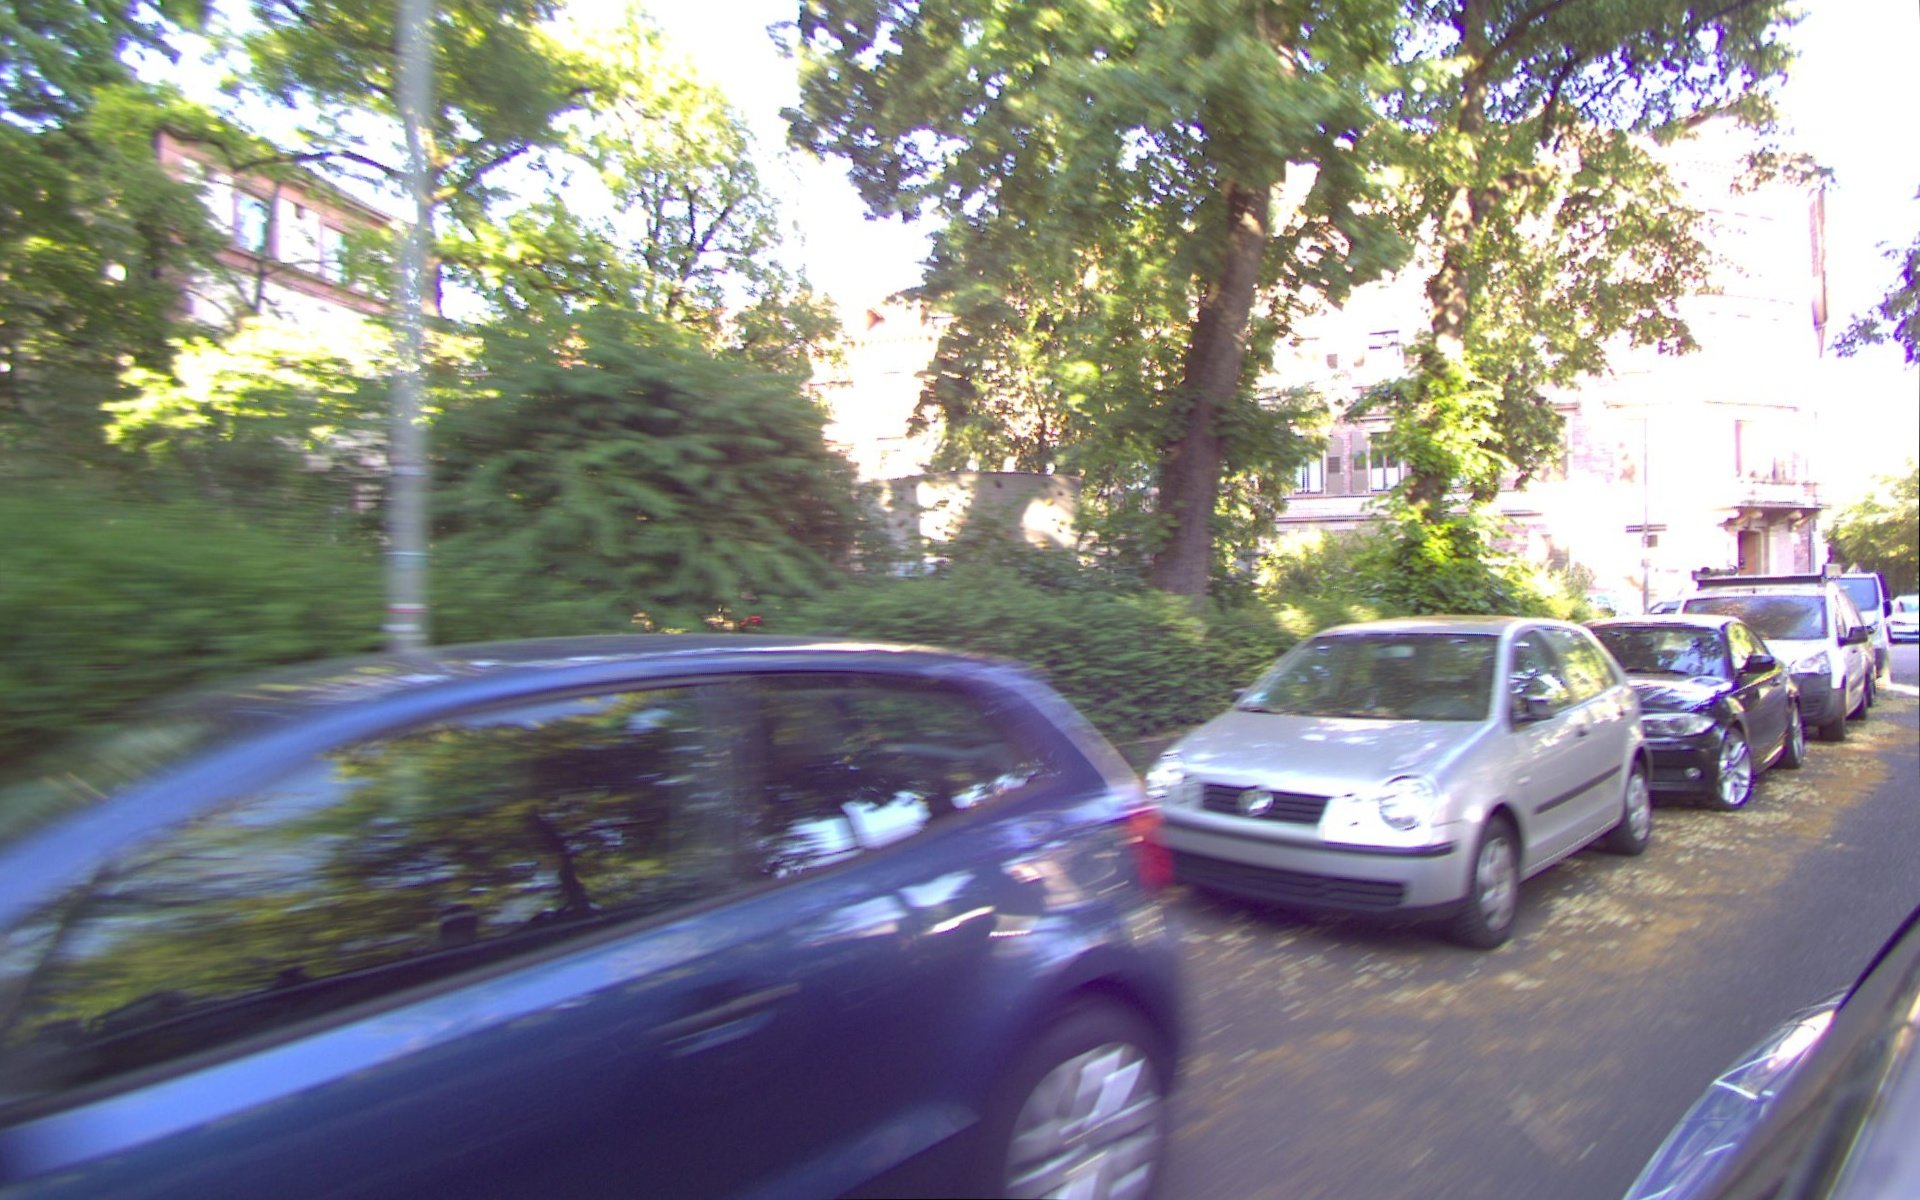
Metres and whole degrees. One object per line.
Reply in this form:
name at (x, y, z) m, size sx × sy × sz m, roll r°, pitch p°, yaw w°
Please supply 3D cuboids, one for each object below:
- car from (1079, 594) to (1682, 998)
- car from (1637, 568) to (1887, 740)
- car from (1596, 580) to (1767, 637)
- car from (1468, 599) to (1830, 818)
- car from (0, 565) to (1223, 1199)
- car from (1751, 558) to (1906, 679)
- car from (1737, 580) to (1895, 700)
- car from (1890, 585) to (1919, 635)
car at (2.567, 0.734, 5.699) m, size 3.827 × 1.477 × 1.674 m, roll -1°, pitch 0°, yaw -43°
car at (9.862, 0.527, 12.314) m, size 4.304 × 1.729 × 1.788 m, roll -1°, pitch 0°, yaw -44°
car at (22.443, 0.310, 31.663) m, size 3.948 × 1.669 × 1.673 m, roll -1°, pitch -3°, yaw 19°
car at (6.113, 0.726, 8.769) m, size 4.194 × 1.408 × 1.674 m, roll -1°, pitch 0°, yaw -43°
car at (-1.353, 0.707, 1.887) m, size 3.825 × 1.477 × 1.675 m, roll -1°, pitch 0°, yaw -41°
car at (16.462, 0.286, 19.128) m, size 1.964 × 1.960 × 5.372 m, roll -1°, pitch 0°, yaw 42°
car at (13.324, 0.531, 15.676) m, size 1.567 × 1.635 × 3.833 m, roll -1°, pitch 0°, yaw 44°
car at (34.299, 0.282, 35.601) m, size 1.932 × 1.643 × 4.184 m, roll -5°, pitch -3°, yaw 39°
